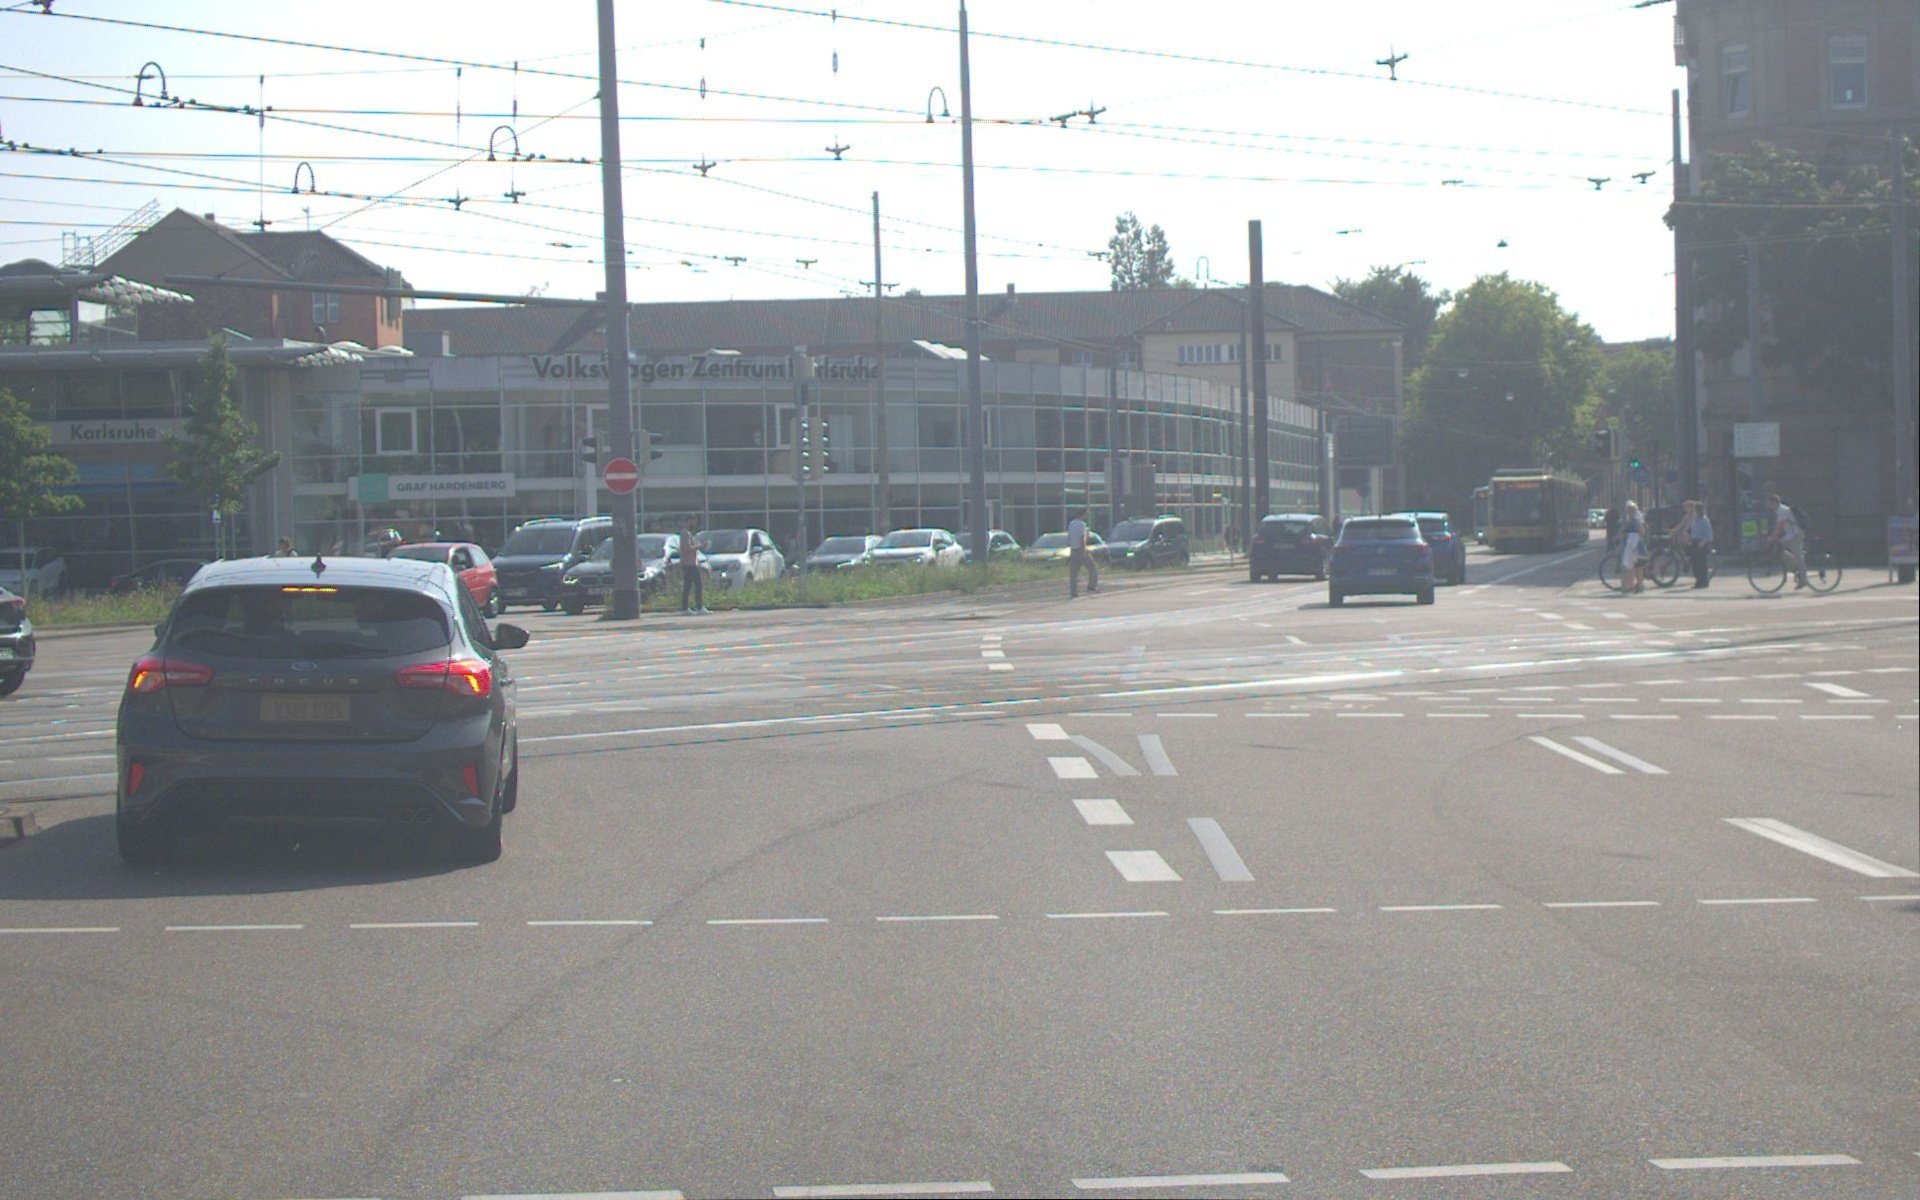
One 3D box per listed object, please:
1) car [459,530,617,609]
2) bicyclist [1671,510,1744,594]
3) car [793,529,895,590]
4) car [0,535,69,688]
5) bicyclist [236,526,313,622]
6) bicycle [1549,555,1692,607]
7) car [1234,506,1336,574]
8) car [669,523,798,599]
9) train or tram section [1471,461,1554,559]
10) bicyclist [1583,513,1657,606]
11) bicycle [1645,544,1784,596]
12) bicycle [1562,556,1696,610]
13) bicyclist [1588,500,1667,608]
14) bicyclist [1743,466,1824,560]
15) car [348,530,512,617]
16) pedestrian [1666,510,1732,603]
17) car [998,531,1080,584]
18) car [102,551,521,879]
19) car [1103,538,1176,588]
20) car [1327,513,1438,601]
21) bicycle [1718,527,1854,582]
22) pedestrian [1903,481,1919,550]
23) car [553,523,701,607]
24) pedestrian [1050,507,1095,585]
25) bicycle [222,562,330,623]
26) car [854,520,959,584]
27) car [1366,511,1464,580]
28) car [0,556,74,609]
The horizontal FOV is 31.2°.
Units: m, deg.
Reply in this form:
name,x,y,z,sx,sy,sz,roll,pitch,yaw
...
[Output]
name,x,y,z,sx,sy,sz,roll,pitch,yaw
car,-8.649,-0.653,70.727,1.961,1.470,3.998,-3,1,12
bicyclist,15.053,-0.973,69.276,0.934,1.674,1.093,-2,1,-27
car,-2.996,-1.071,89.494,1.615,1.470,3.998,-3,1,13
car,-11.357,0.139,34.958,4.364,1.486,1.686,-1,1,26
bicyclist,-12.583,-0.482,63.111,0.958,1.742,1.166,-1,1,13
bicycle,13.007,-0.386,67.706,2.618,0.961,1.093,-2,1,-27
car,7.846,-1.461,82.745,1.826,1.530,4.410,-1,1,13
car,-4.721,-0.845,72.123,1.615,1.470,3.998,-3,1,12
train or tram section,22.055,-3.612,136.889,2.656,3.686,10.584,-1,1,12
bicyclist,12.987,-0.805,67.687,0.934,1.793,1.093,-2,1,-27
bicycle,15.230,-0.612,69.376,2.618,0.961,1.093,-2,1,-27
bicycle,12.739,-0.334,65.415,2.619,0.961,1.093,-2,2,-40
bicyclist,12.692,-0.875,65.379,0.934,2.017,1.092,-2,2,-40
bicyclist,15.222,-1.604,63.568,0.934,1.702,1.092,-2,2,-40
car,-9.760,-0.508,63.598,1.615,1.470,3.998,-3,1,12
pedestrian,14.340,-0.844,66.705,0.925,1.791,0.859,-2,2,-44
car,2.395,-1.303,103.626,1.615,1.470,3.998,-3,1,13
car,-3.275,0.480,17.740,1.831,1.430,4.551,-1,1,-9
car,5.781,-1.212,110.401,1.615,1.470,3.998,-3,1,13
car,7.390,-0.781,59.896,1.826,1.423,4.411,-1,1,8
bicycle,15.301,-0.845,63.642,2.619,0.961,1.093,-2,2,-40
pedestrian,20.691,-1.815,73.869,0.546,1.466,0.666,0,1,43
car,-6.334,-0.690,65.807,1.615,1.470,3.998,-3,1,12
pedestrian,2.189,-1.060,66.904,0.778,1.498,0.710,-1,1,8
bicycle,-12.558,-0.153,63.208,0.958,1.053,2.607,-1,1,13
car,-1.306,-1.211,85.718,1.615,1.470,3.998,-3,1,13
car,10.112,-1.227,76.155,1.826,1.423,4.410,-1,1,11
car,-27.605,-0.531,101.580,1.699,1.517,4.099,-1,1,1
